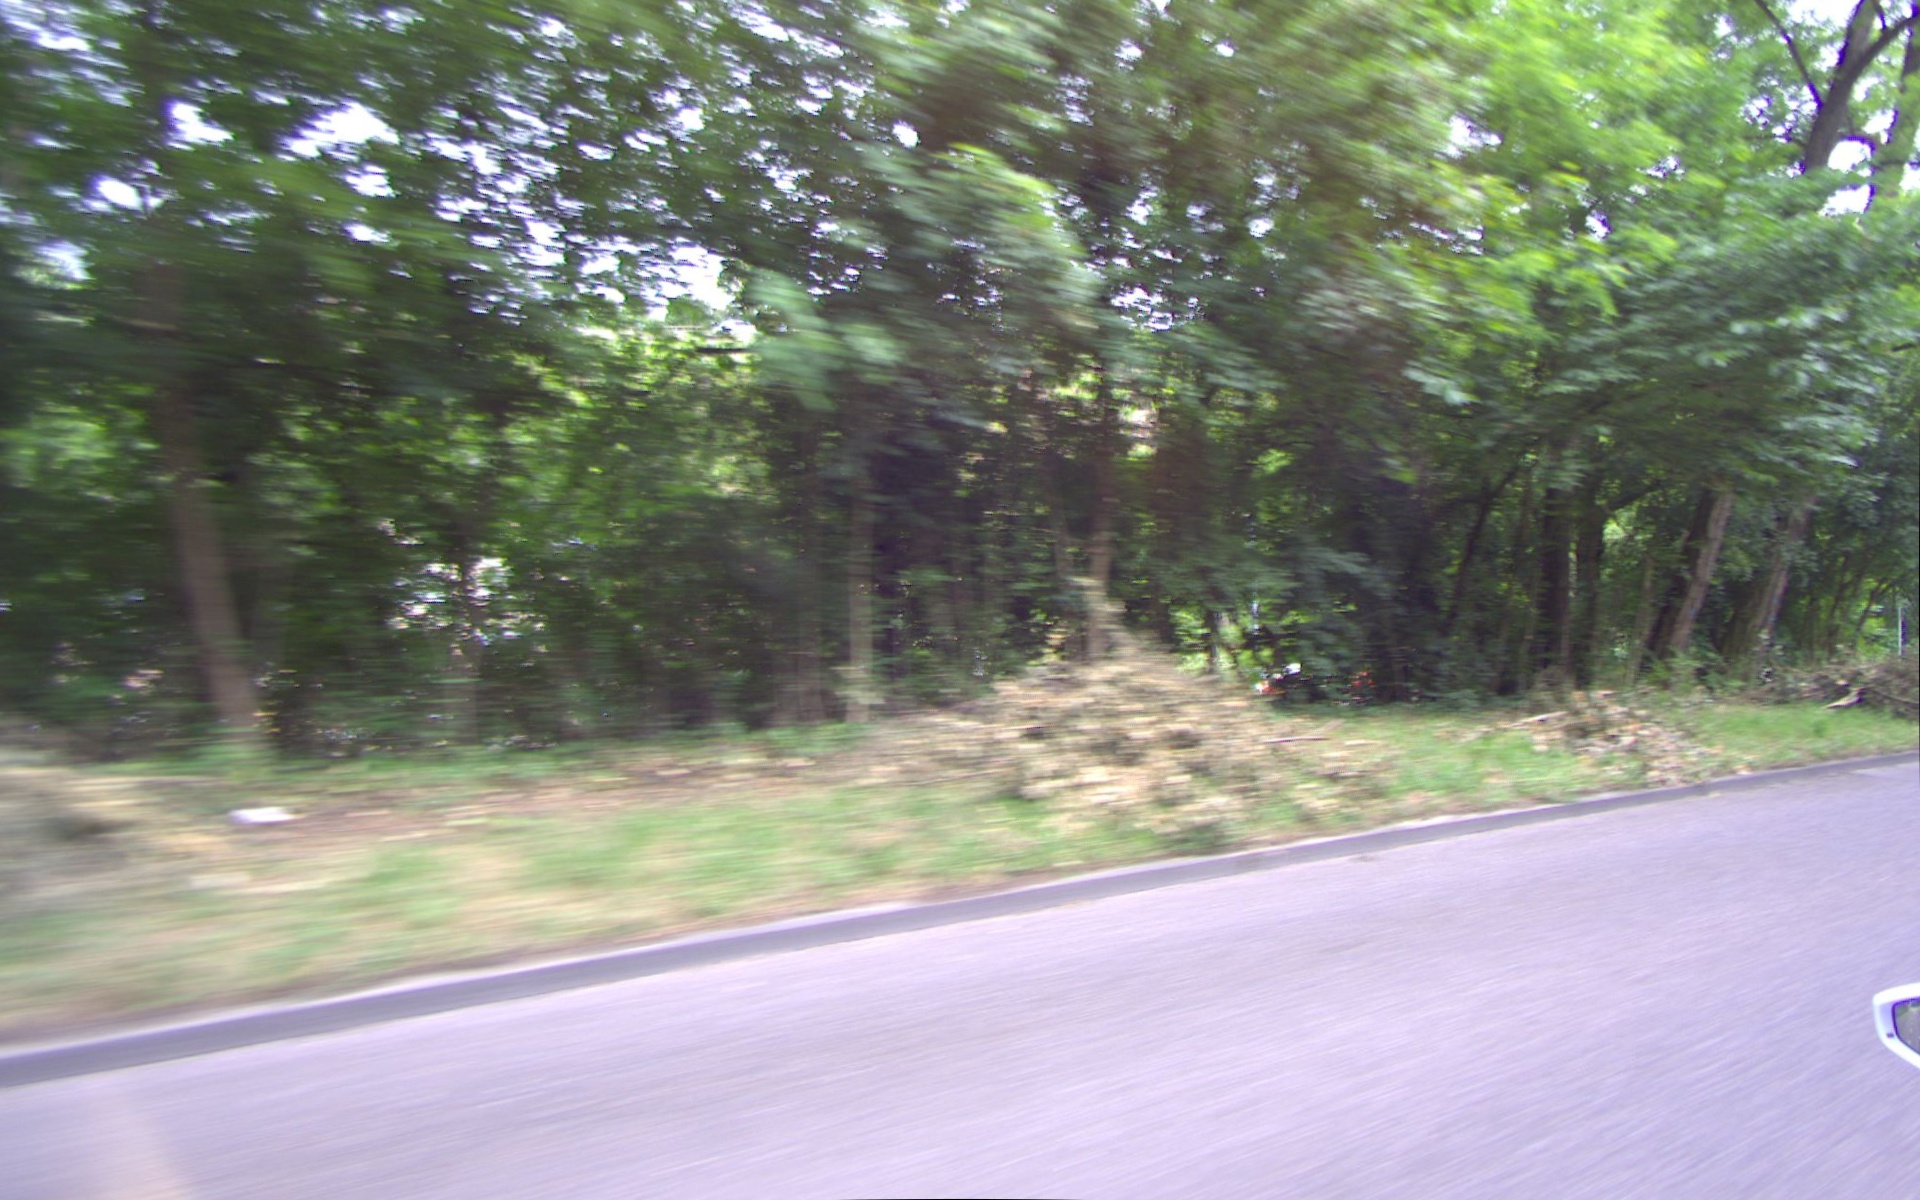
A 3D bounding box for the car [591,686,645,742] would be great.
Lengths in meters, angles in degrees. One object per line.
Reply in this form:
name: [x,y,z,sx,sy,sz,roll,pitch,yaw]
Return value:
car: [-15.326,5.078,45.175,1.689,1.907,3.841,-1,2,-10]
